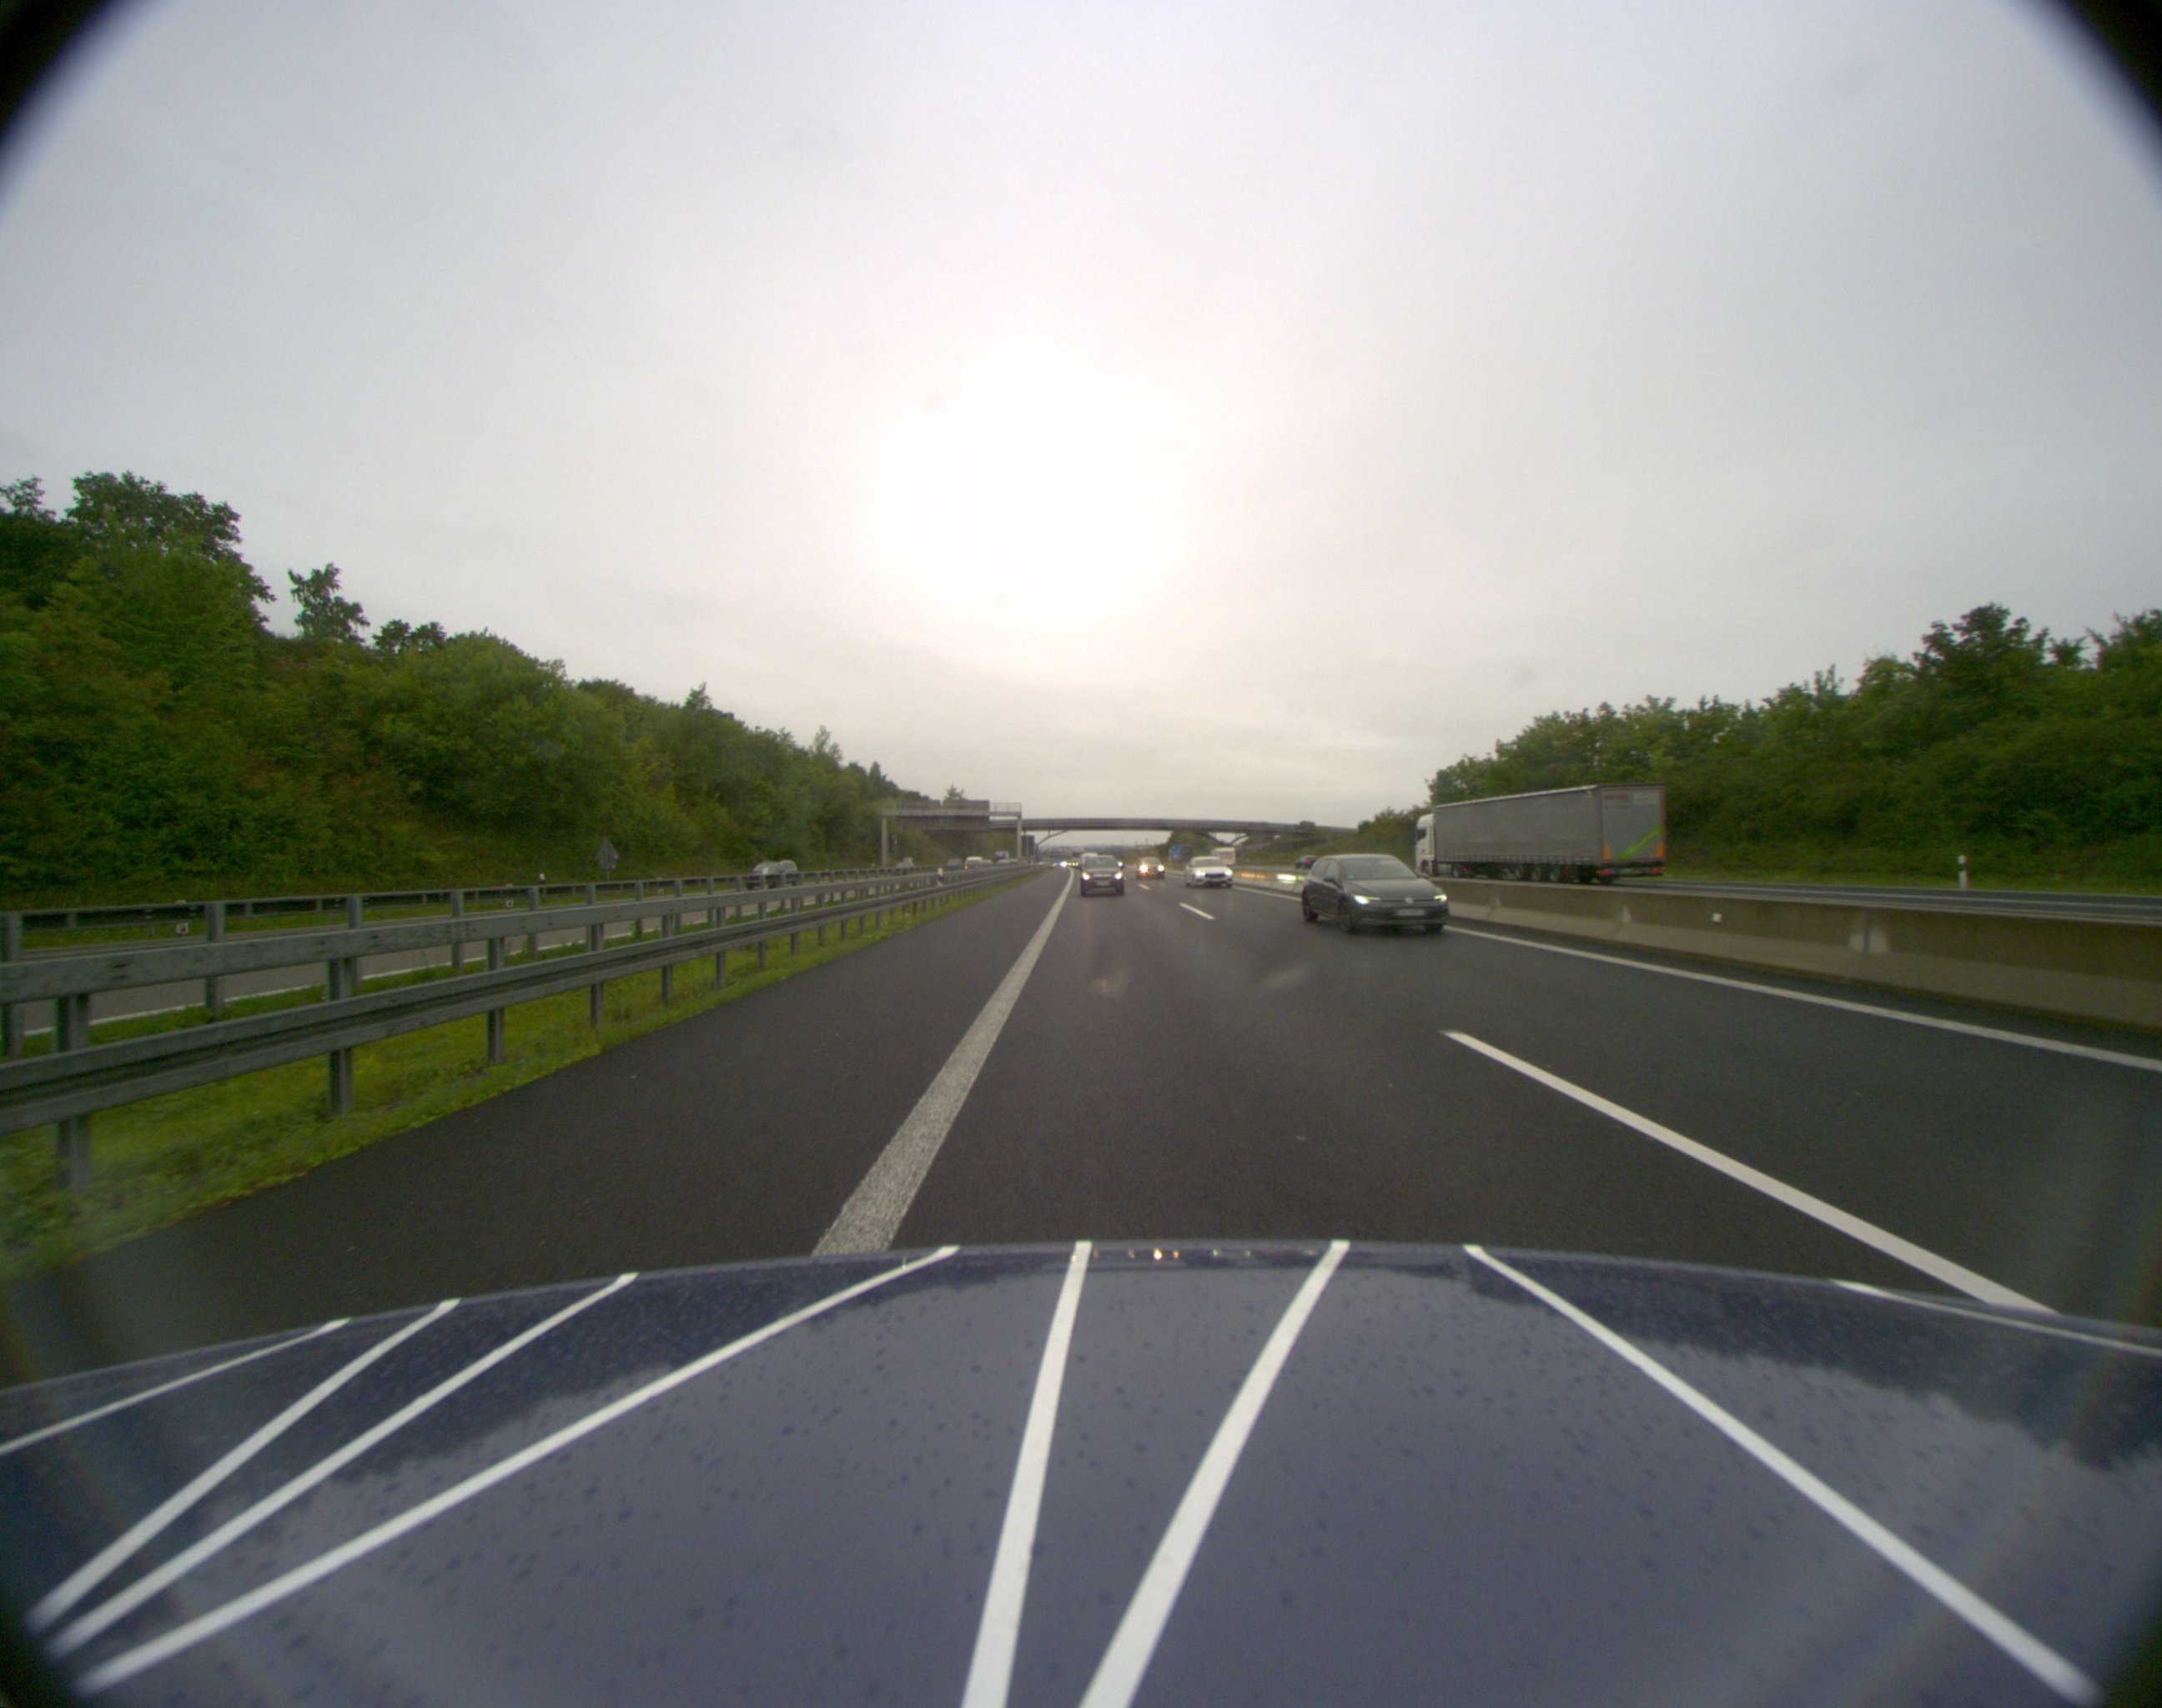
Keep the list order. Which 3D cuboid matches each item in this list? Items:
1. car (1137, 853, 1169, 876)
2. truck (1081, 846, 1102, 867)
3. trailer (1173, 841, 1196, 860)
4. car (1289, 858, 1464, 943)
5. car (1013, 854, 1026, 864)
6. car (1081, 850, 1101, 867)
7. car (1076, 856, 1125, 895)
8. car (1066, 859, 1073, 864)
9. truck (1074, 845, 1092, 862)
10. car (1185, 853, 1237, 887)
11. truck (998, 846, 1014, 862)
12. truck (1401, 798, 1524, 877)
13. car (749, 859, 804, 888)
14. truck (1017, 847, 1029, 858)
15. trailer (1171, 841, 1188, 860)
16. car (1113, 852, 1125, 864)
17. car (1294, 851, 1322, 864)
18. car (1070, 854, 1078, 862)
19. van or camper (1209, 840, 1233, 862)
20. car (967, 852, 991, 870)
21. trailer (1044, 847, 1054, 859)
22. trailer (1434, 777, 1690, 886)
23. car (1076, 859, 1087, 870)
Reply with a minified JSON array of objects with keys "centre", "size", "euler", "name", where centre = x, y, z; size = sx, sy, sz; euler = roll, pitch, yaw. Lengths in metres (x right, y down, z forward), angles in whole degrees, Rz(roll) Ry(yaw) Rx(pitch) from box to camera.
[{"centre":[4.971,0.697,52.727],"size":[1.905,1.497,4.114],"euler":[-1,0,1],"name":"car"},{"centre":[1.159,0.248,86.404],"size":[2.175,2.214,5.642],"euler":[-1,0,0],"name":"truck"},{"centre":[22.273,-0.724,164.526],"size":[2.797,4.059,13.524],"euler":[-1,0,-1],"name":"trailer"},{"centre":[5.727,0.817,15.393],"size":[1.905,1.397,4.459],"euler":[-1,0,2],"name":"car"},{"centre":[-11.569,0.851,143.320],"size":[2.013,1.804,4.276],"euler":[-1,1,1],"name":"car"},{"centre":[1.058,0.477,79.919],"size":[1.825,1.669,4.001],"euler":[-1,1,4],"name":"car"},{"centre":[0.867,0.854,32.048],"size":[1.905,1.497,4.115],"euler":[-1,0,3],"name":"car"},{"centre":[-3.855,2.358,247.068],"size":[1.916,1.671,4.000],"euler":[-1,0,3],"name":"car"},{"centre":[0.408,-0.179,159.074],"size":[3.154,3.332,13.096],"euler":[-1,0,-2],"name":"truck"},{"centre":[6.230,0.738,36.787],"size":[1.905,1.497,4.114],"euler":[-1,0,2],"name":"car"},{"centre":[-16.499,-0.050,168.018],"size":[2.909,3.397,9.279],"euler":[-1,1,-2],"name":"truck"},{"centre":[21.517,-0.871,43.440],"size":[3.268,4.060,7.440],"euler":[-1,0,0],"name":"truck"},{"centre":[-18.403,1.155,46.128],"size":[1.865,1.573,4.238],"euler":[-1,0,-4],"name":"car"},{"centre":[-17.931,-0.468,236.619],"size":[2.909,3.397,13.350],"euler":[-1,0,-1],"name":"truck"},{"centre":[22.156,-0.732,171.238],"size":[2.797,4.060,6.041],"euler":[-1,0,-1],"name":"trailer"},{"centre":[5.711,0.603,115.184],"size":[1.715,1.724,4.000],"euler":[-1,0,1],"name":"car"},{"centre":[23.525,0.344,78.976],"size":[1.693,1.286,3.923],"euler":[-1,0,0],"name":"car"},{"centre":[-1.769,1.013,188.004],"size":[1.715,1.724,4.000],"euler":[-1,0,1],"name":"car"},{"centre":[16.713,-0.369,90.807],"size":[1.799,2.455,5.547],"euler":[-1,0,1],"name":"van or camper"},{"centre":[-10.727,0.734,80.306],"size":[1.864,1.794,4.647],"euler":[-1,0,0],"name":"car"},{"centre":[-9.662,-0.304,231.174],"size":[2.547,3.799,11.329],"euler":[-1,0,0],"name":"trailer"},{"centre":[21.513,-0.857,35.827],"size":[3.268,4.059,13.844],"euler":[-1,0,0],"name":"trailer"},{"centre":[0.047,1.731,127.328],"size":[1.715,1.724,4.000],"euler":[-1,0,1],"name":"car"}]
